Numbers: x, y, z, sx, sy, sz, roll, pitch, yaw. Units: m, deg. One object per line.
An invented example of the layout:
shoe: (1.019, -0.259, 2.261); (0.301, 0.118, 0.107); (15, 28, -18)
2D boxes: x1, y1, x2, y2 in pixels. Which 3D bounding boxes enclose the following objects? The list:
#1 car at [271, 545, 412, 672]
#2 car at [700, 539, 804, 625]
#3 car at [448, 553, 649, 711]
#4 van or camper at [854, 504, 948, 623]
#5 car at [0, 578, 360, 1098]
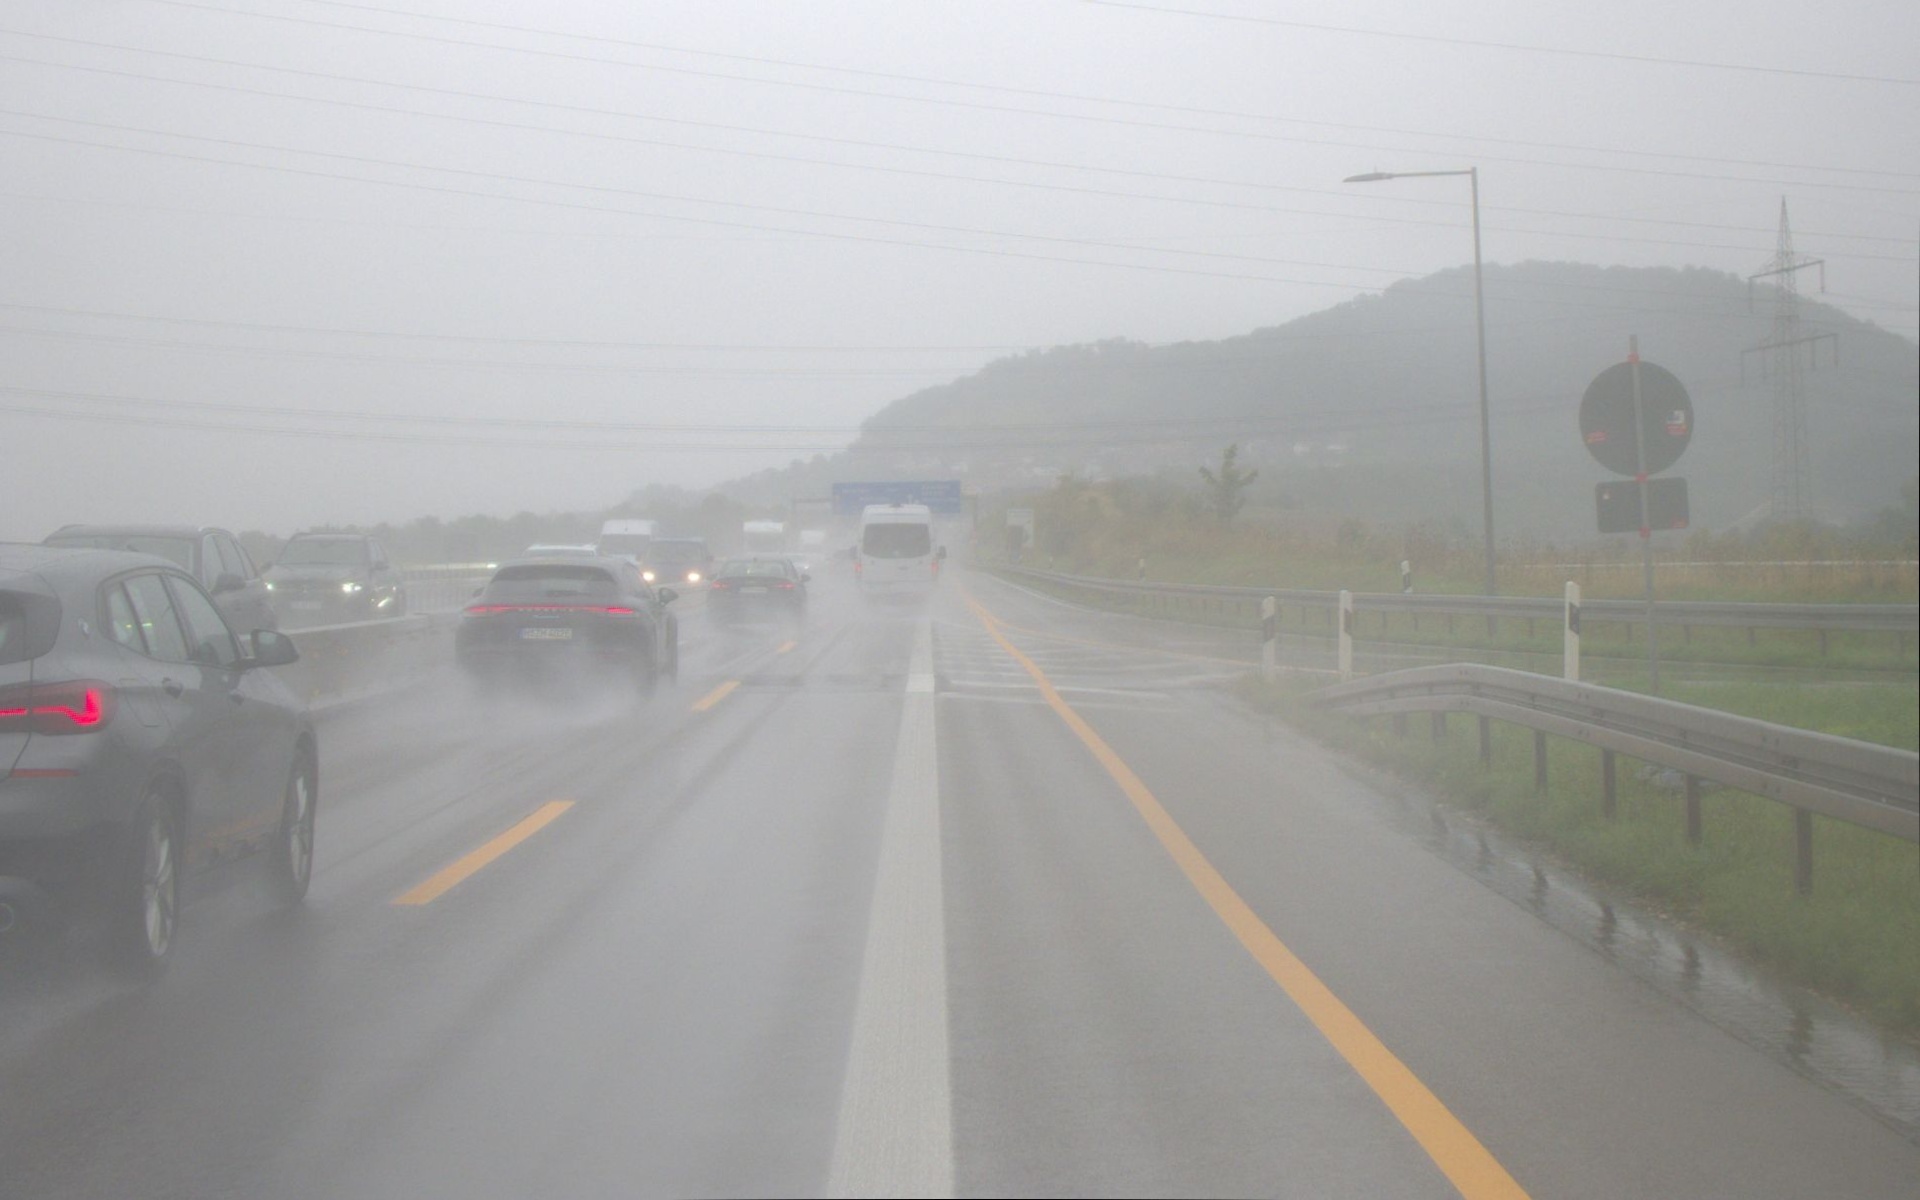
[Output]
car: (-10.656, 0.112, 59.471); (1.835, 2.006, 4.001); (1, 2, -2)
car: (-3.915, -0.364, 64.588); (1.844, 1.486, 4.262); (-2, 1, -4)
car: (-4.113, 0.325, 34.926); (1.844, 1.486, 4.262); (1, -1, -4)
van or camper: (-1.442, -0.842, 82.407); (1.996, 2.768, 4.050); (1, -1, -4)
car: (-3.523, 0.742, 12.961); (1.701, 1.592, 4.845); (1, -1, 0)
